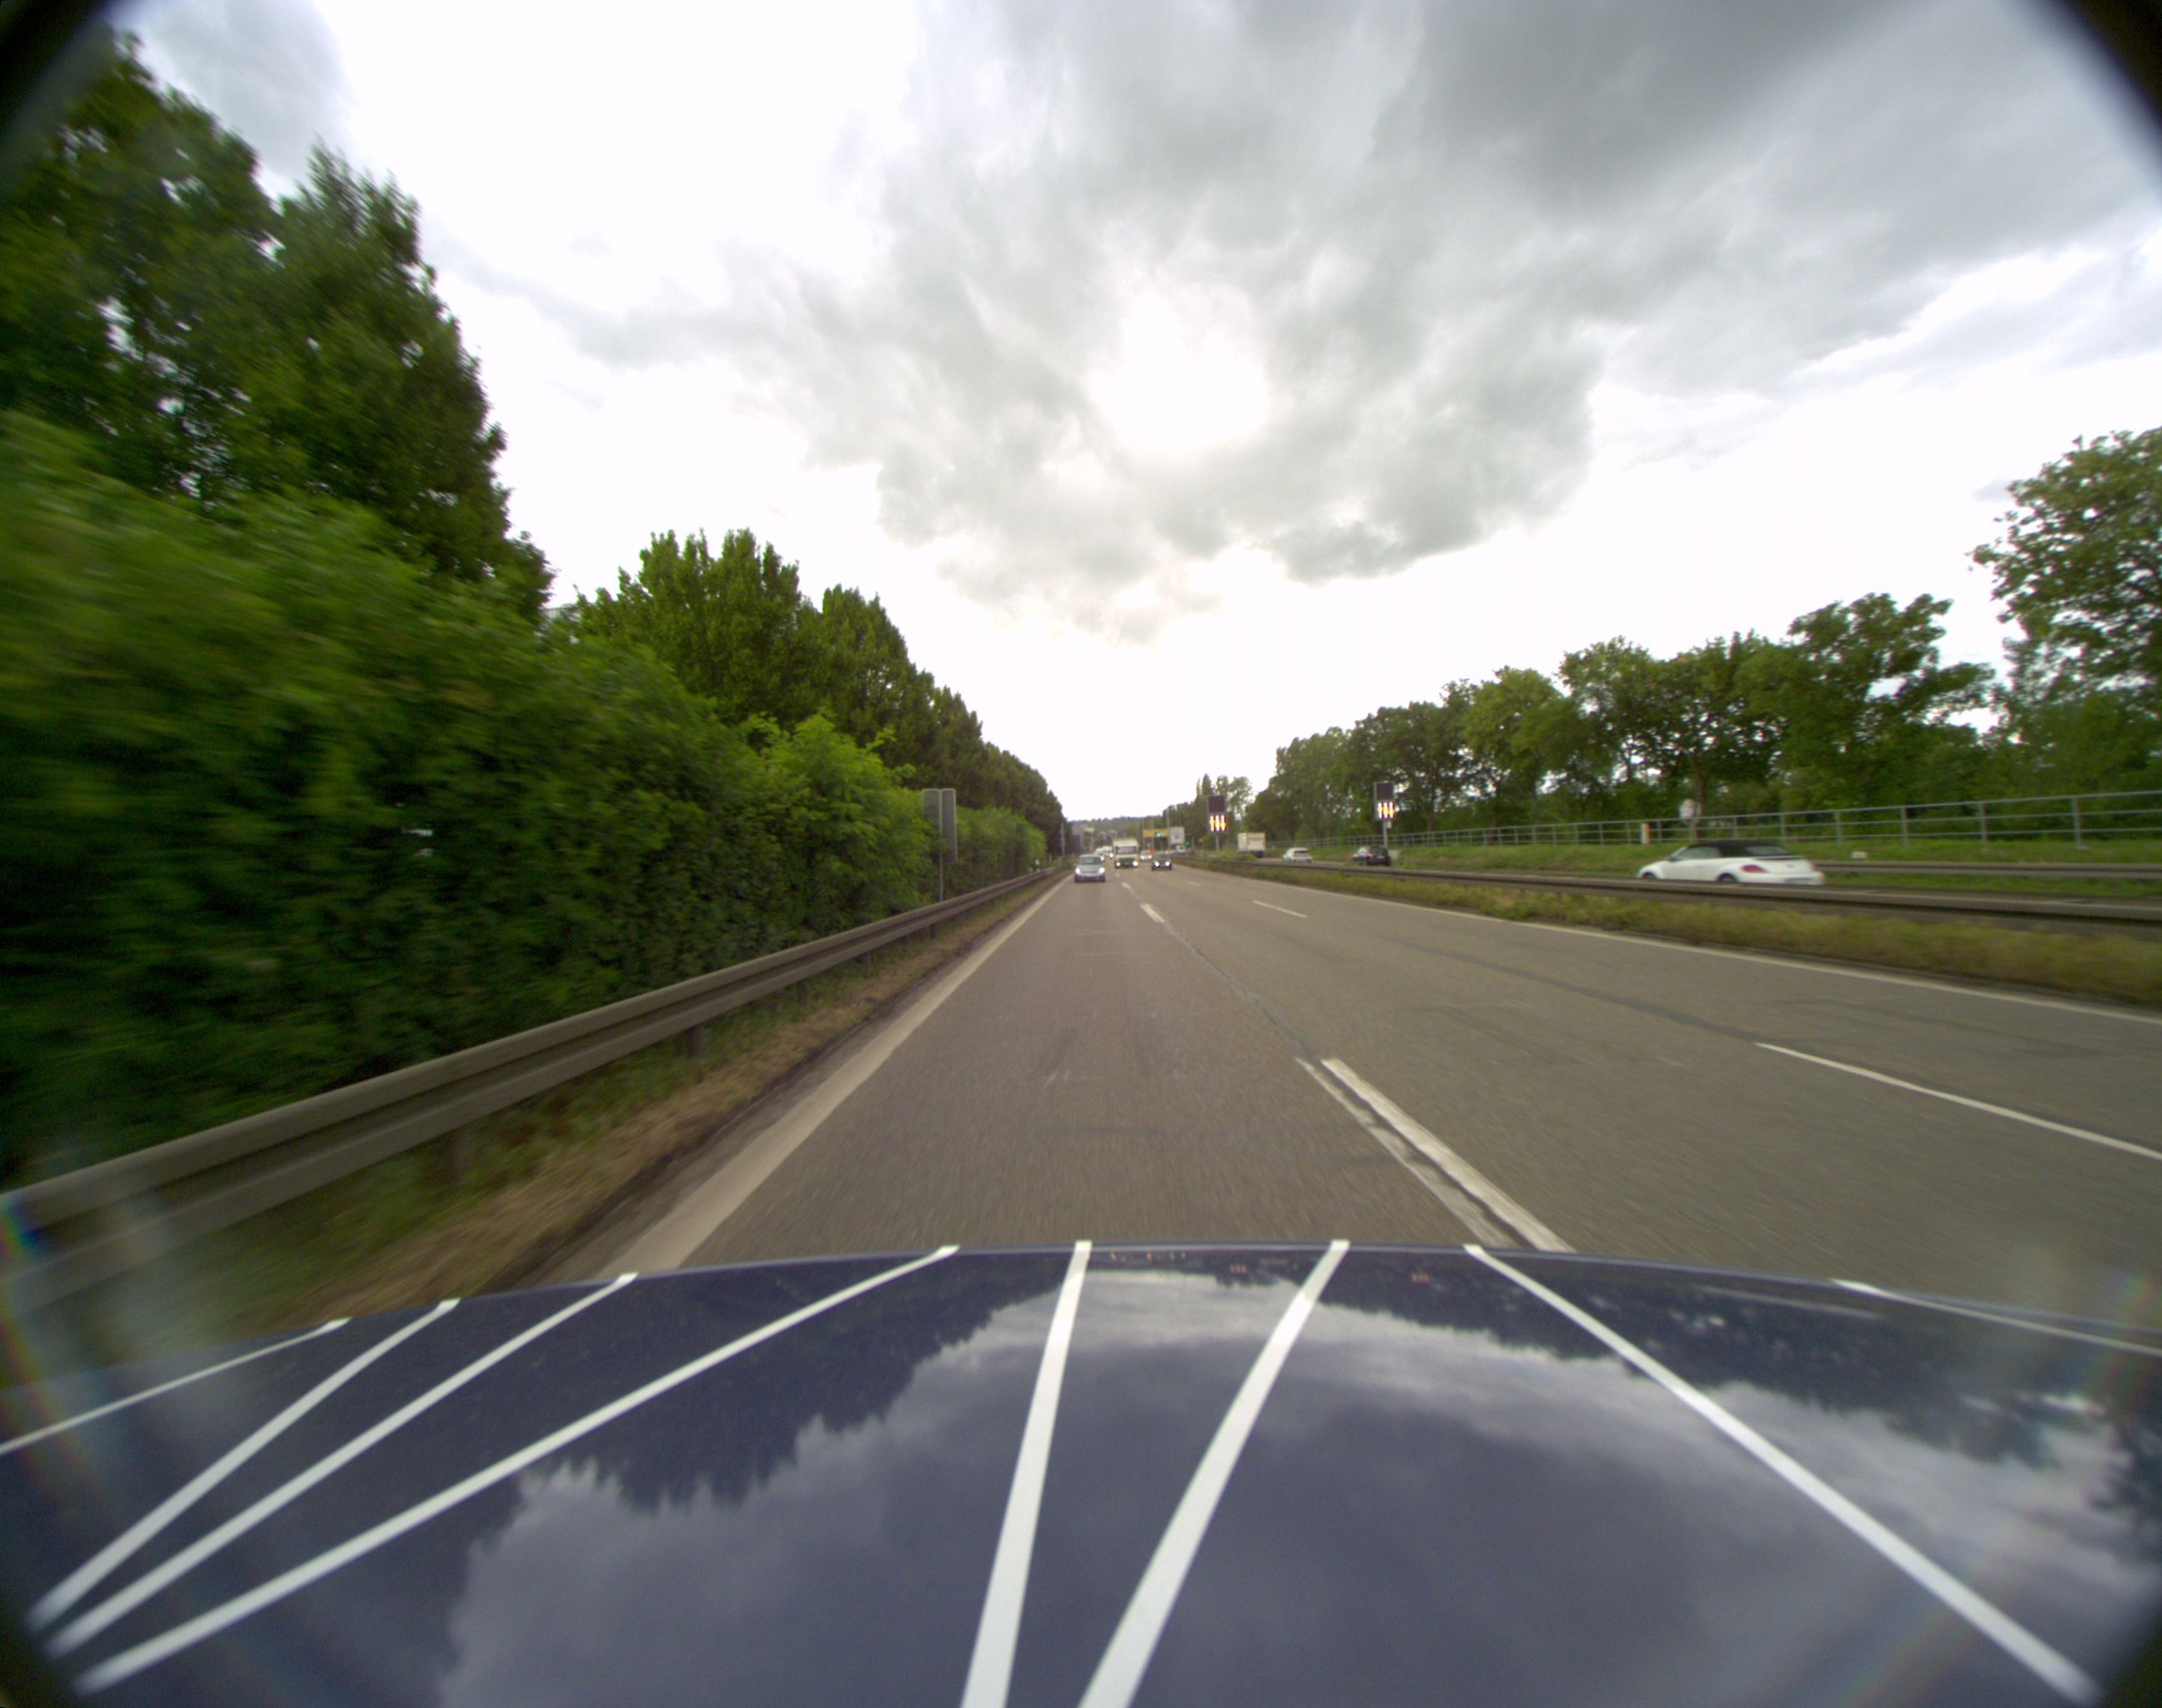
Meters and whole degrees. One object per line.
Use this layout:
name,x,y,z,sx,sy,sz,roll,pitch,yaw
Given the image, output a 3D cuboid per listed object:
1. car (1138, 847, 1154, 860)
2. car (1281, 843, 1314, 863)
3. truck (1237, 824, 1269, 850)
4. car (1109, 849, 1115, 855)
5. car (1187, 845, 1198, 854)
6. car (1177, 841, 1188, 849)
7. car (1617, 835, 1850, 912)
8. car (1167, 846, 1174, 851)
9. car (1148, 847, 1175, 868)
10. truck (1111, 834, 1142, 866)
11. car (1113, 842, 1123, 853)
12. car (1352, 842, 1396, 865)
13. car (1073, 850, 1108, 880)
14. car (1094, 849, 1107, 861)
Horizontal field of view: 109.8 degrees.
car,9.183,-0.035,108.372,1.883,1.714,4.146,-4,0,1
car,18.622,-0.100,65.498,1.702,1.595,4.538,-1,0,2
truck,24.973,-2.395,110.844,2.895,3.558,9.588,-2,1,4
car,9.975,-0.725,246.522,1.949,1.811,4.000,-2,0,1
car,23.507,-0.864,160.356,1.883,1.714,4.147,-4,0,4
car,24.362,-2.199,182.797,2.231,1.936,5.475,-3,0,4
car,16.175,0.421,19.254,1.871,1.665,4.718,-2,0,0
car,24.781,-1.556,210.905,1.663,1.390,3.989,-1,0,2
car,6.865,0.297,65.279,1.883,1.714,4.146,-4,0,1
truck,4.914,-0.413,83.804,2.657,3.121,12.509,-4,0,1
car,8.050,-1.429,165.720,1.949,2.176,4.000,-4,0,1
car,21.300,-0.041,55.459,1.730,1.595,4.042,-1,0,2
car,0.563,0.613,44.401,1.883,1.530,4.146,-4,0,1
car,3.078,0.138,118.420,1.883,1.714,4.146,-4,0,1
